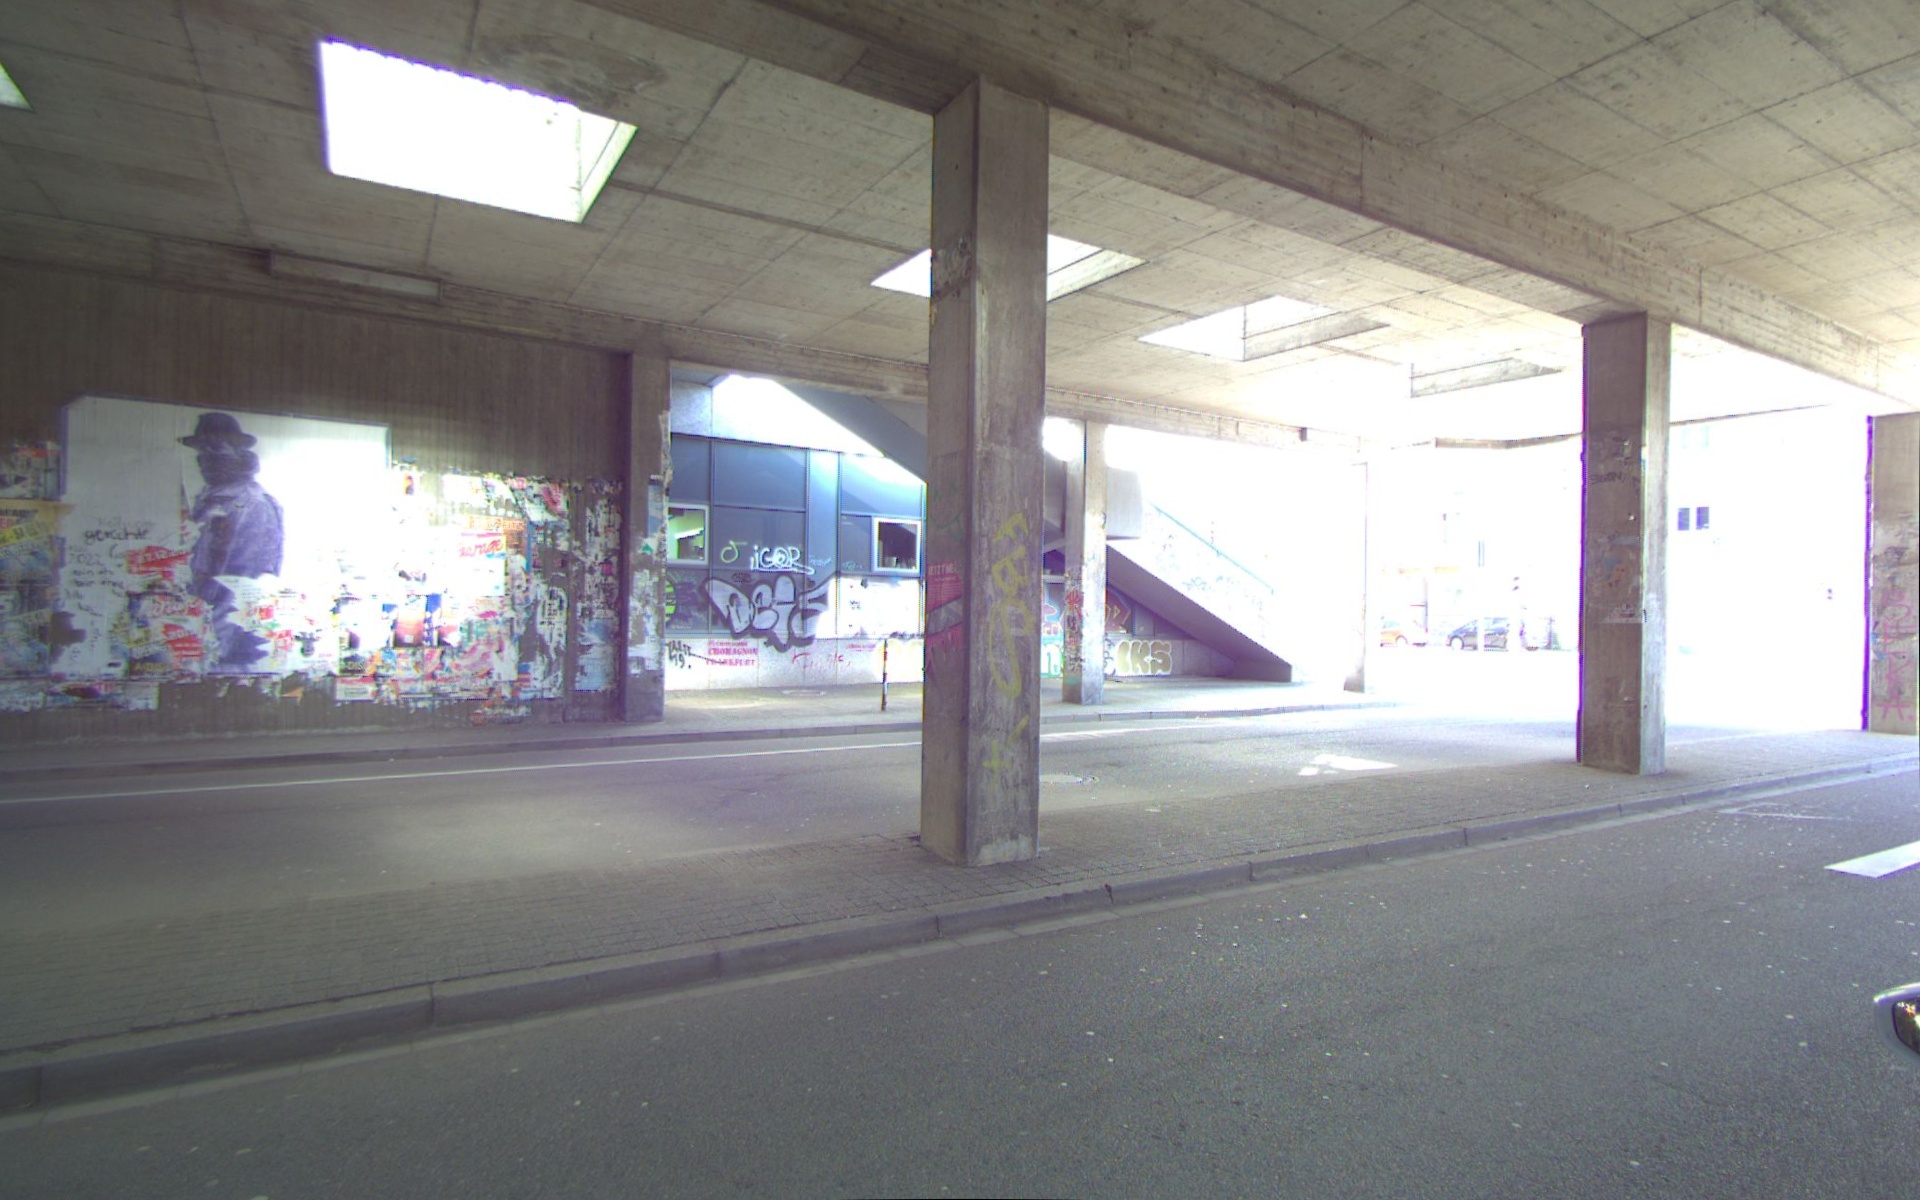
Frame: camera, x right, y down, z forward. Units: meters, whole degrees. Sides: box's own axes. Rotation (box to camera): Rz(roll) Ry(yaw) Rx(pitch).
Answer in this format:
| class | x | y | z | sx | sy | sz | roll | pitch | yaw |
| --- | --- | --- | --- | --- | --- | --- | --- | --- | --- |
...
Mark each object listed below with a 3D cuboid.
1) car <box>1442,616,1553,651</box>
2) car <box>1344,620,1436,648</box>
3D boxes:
| class | x | y | z | sx | sy | sz | roll | pitch | yaw |
| --- | --- | --- | --- | --- | --- | --- | --- | --- | --- |
| car | 25.418 | 1.574 | 47.655 | 2.240 | 1.571 | 4.111 | 1 | -1 | -29 |
| car | 22.497 | 1.763 | 52.666 | 2.163 | 1.392 | 3.971 | 1 | -1 | -28 |
